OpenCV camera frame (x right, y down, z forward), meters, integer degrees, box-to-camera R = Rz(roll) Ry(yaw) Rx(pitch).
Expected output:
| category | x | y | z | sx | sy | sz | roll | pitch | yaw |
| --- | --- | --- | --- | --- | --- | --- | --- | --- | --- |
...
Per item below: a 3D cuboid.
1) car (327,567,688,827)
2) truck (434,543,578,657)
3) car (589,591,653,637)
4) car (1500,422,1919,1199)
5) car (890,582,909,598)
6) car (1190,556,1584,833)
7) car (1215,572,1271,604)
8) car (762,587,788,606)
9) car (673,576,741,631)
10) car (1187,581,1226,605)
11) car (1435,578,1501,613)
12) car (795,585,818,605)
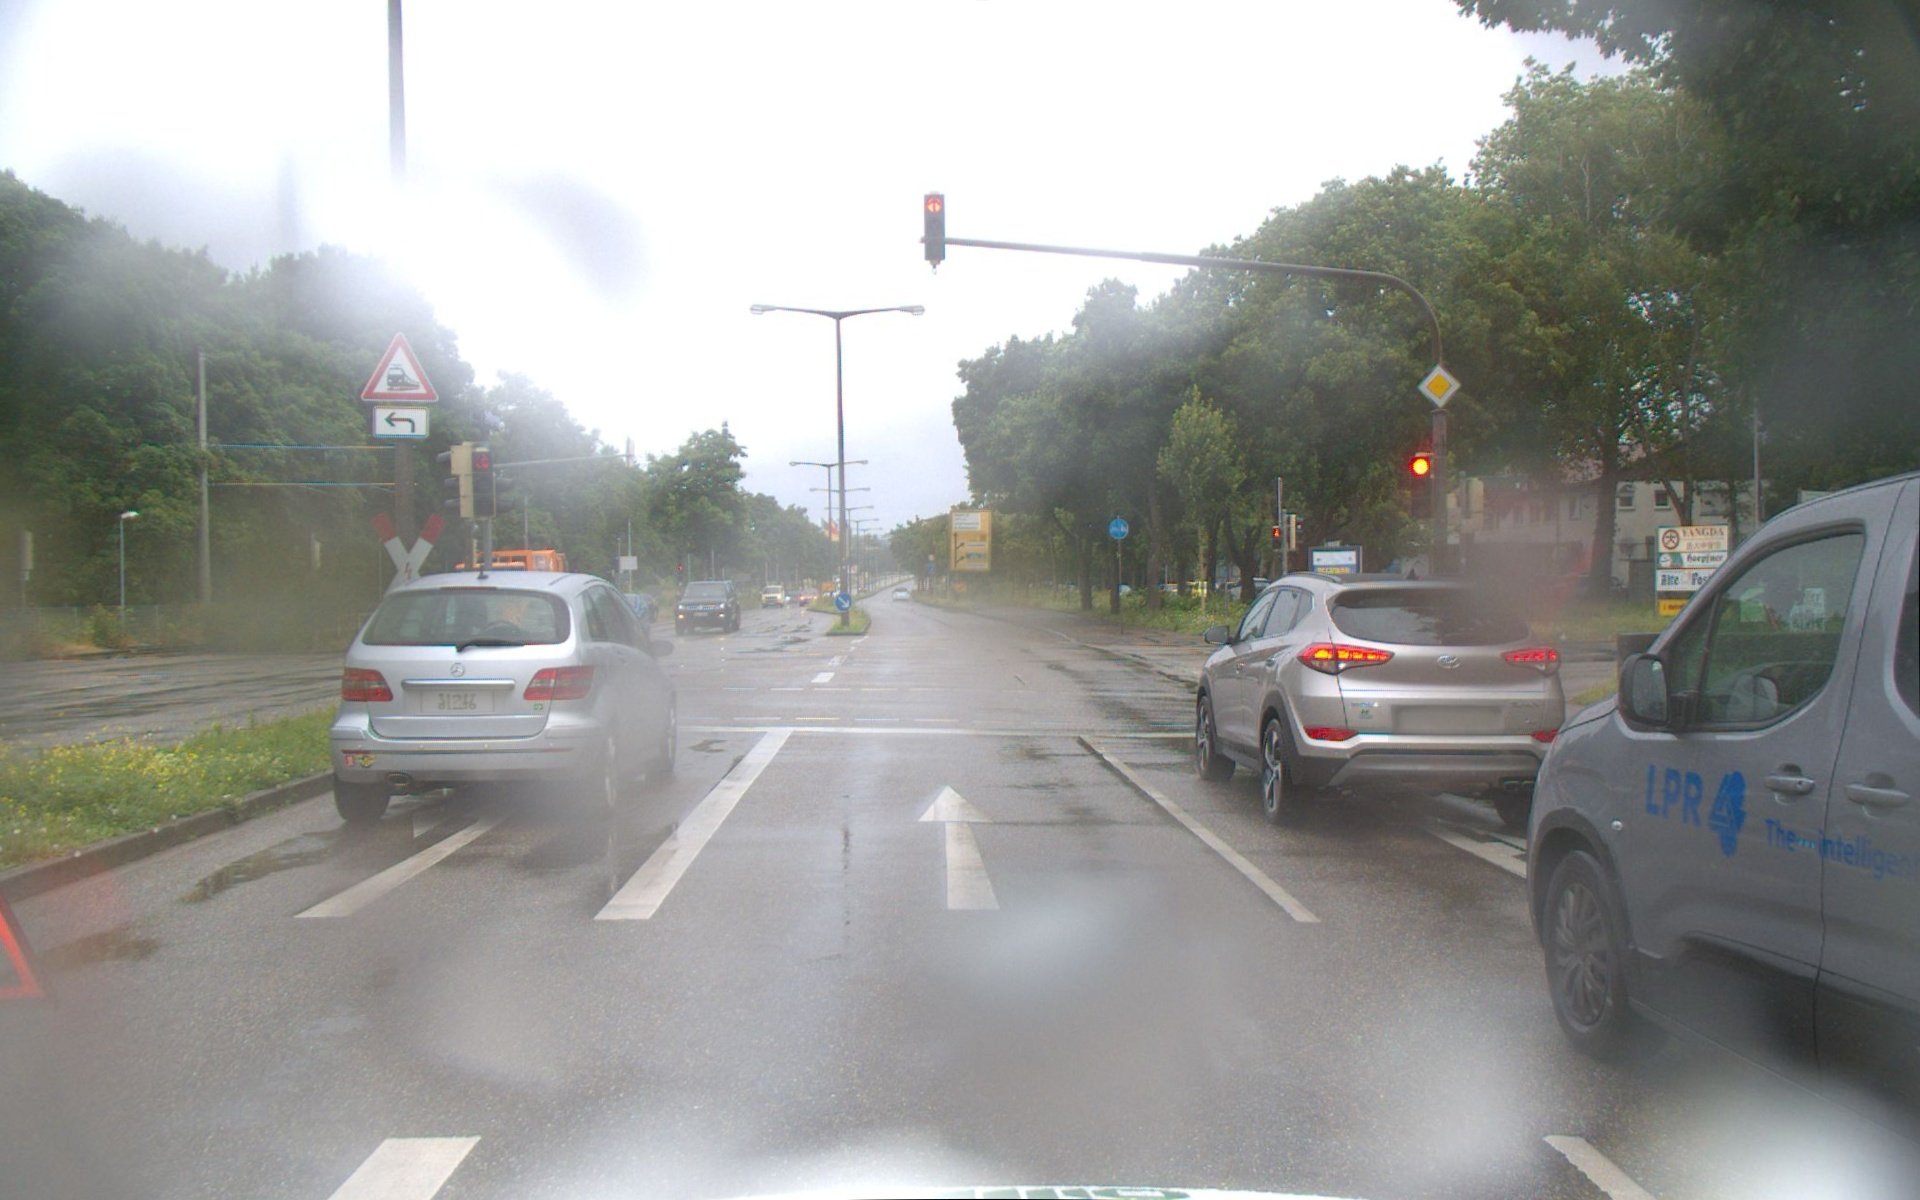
| category | x | y | z | sx | sy | sz | roll | pitch | yaw |
| --- | --- | --- | --- | --- | --- | --- | --- | --- | --- |
| car | -3.101 | 0.580 | 12.150 | 1.701 | 1.571 | 4.011 | 0 | 0 | -3 |
| truck | -18.217 | 0.002 | 67.234 | 3.317 | 4.240 | 10.401 | 1 | 0 | -3 |
| car | -11.774 | 0.480 | 57.629 | 1.609 | 1.452 | 3.996 | -3 | 0 | -4 |
| car | 3.019 | 0.540 | 3.864 | 1.953 | 1.827 | 4.561 | 0 | 0 | -1 |
| car | -6.154 | -1.024 | 169.635 | 1.868 | 1.541 | 3.999 | -1 | 1 | -2 |
| car | 2.854 | 0.571 | 12.038 | 1.845 | 1.638 | 4.196 | 1 | 0 | 1 |
| car | 16.011 | -0.668 | 93.791 | 1.954 | 1.747 | 4.874 | -1 | 0 | -4 |
| car | -16.161 | -0.302 | 144.863 | 1.856 | 1.639 | 4.499 | -1 | 1 | -2 |
| car | -8.934 | 0.096 | 58.719 | 1.769 | 1.804 | 5.087 | -2 | 1 | -3 |
| car | 16.029 | -0.470 | 107.744 | 1.605 | 1.512 | 4.069 | 1 | 0 | -4 |
| car | 22.249 | -0.177 | 72.405 | 1.636 | 1.474 | 3.737 | 1 | 0 | 36 |
| car | -13.461 | -0.423 | 145.149 | 1.765 | 1.597 | 4.426 | -2 | 0 | -3 |
